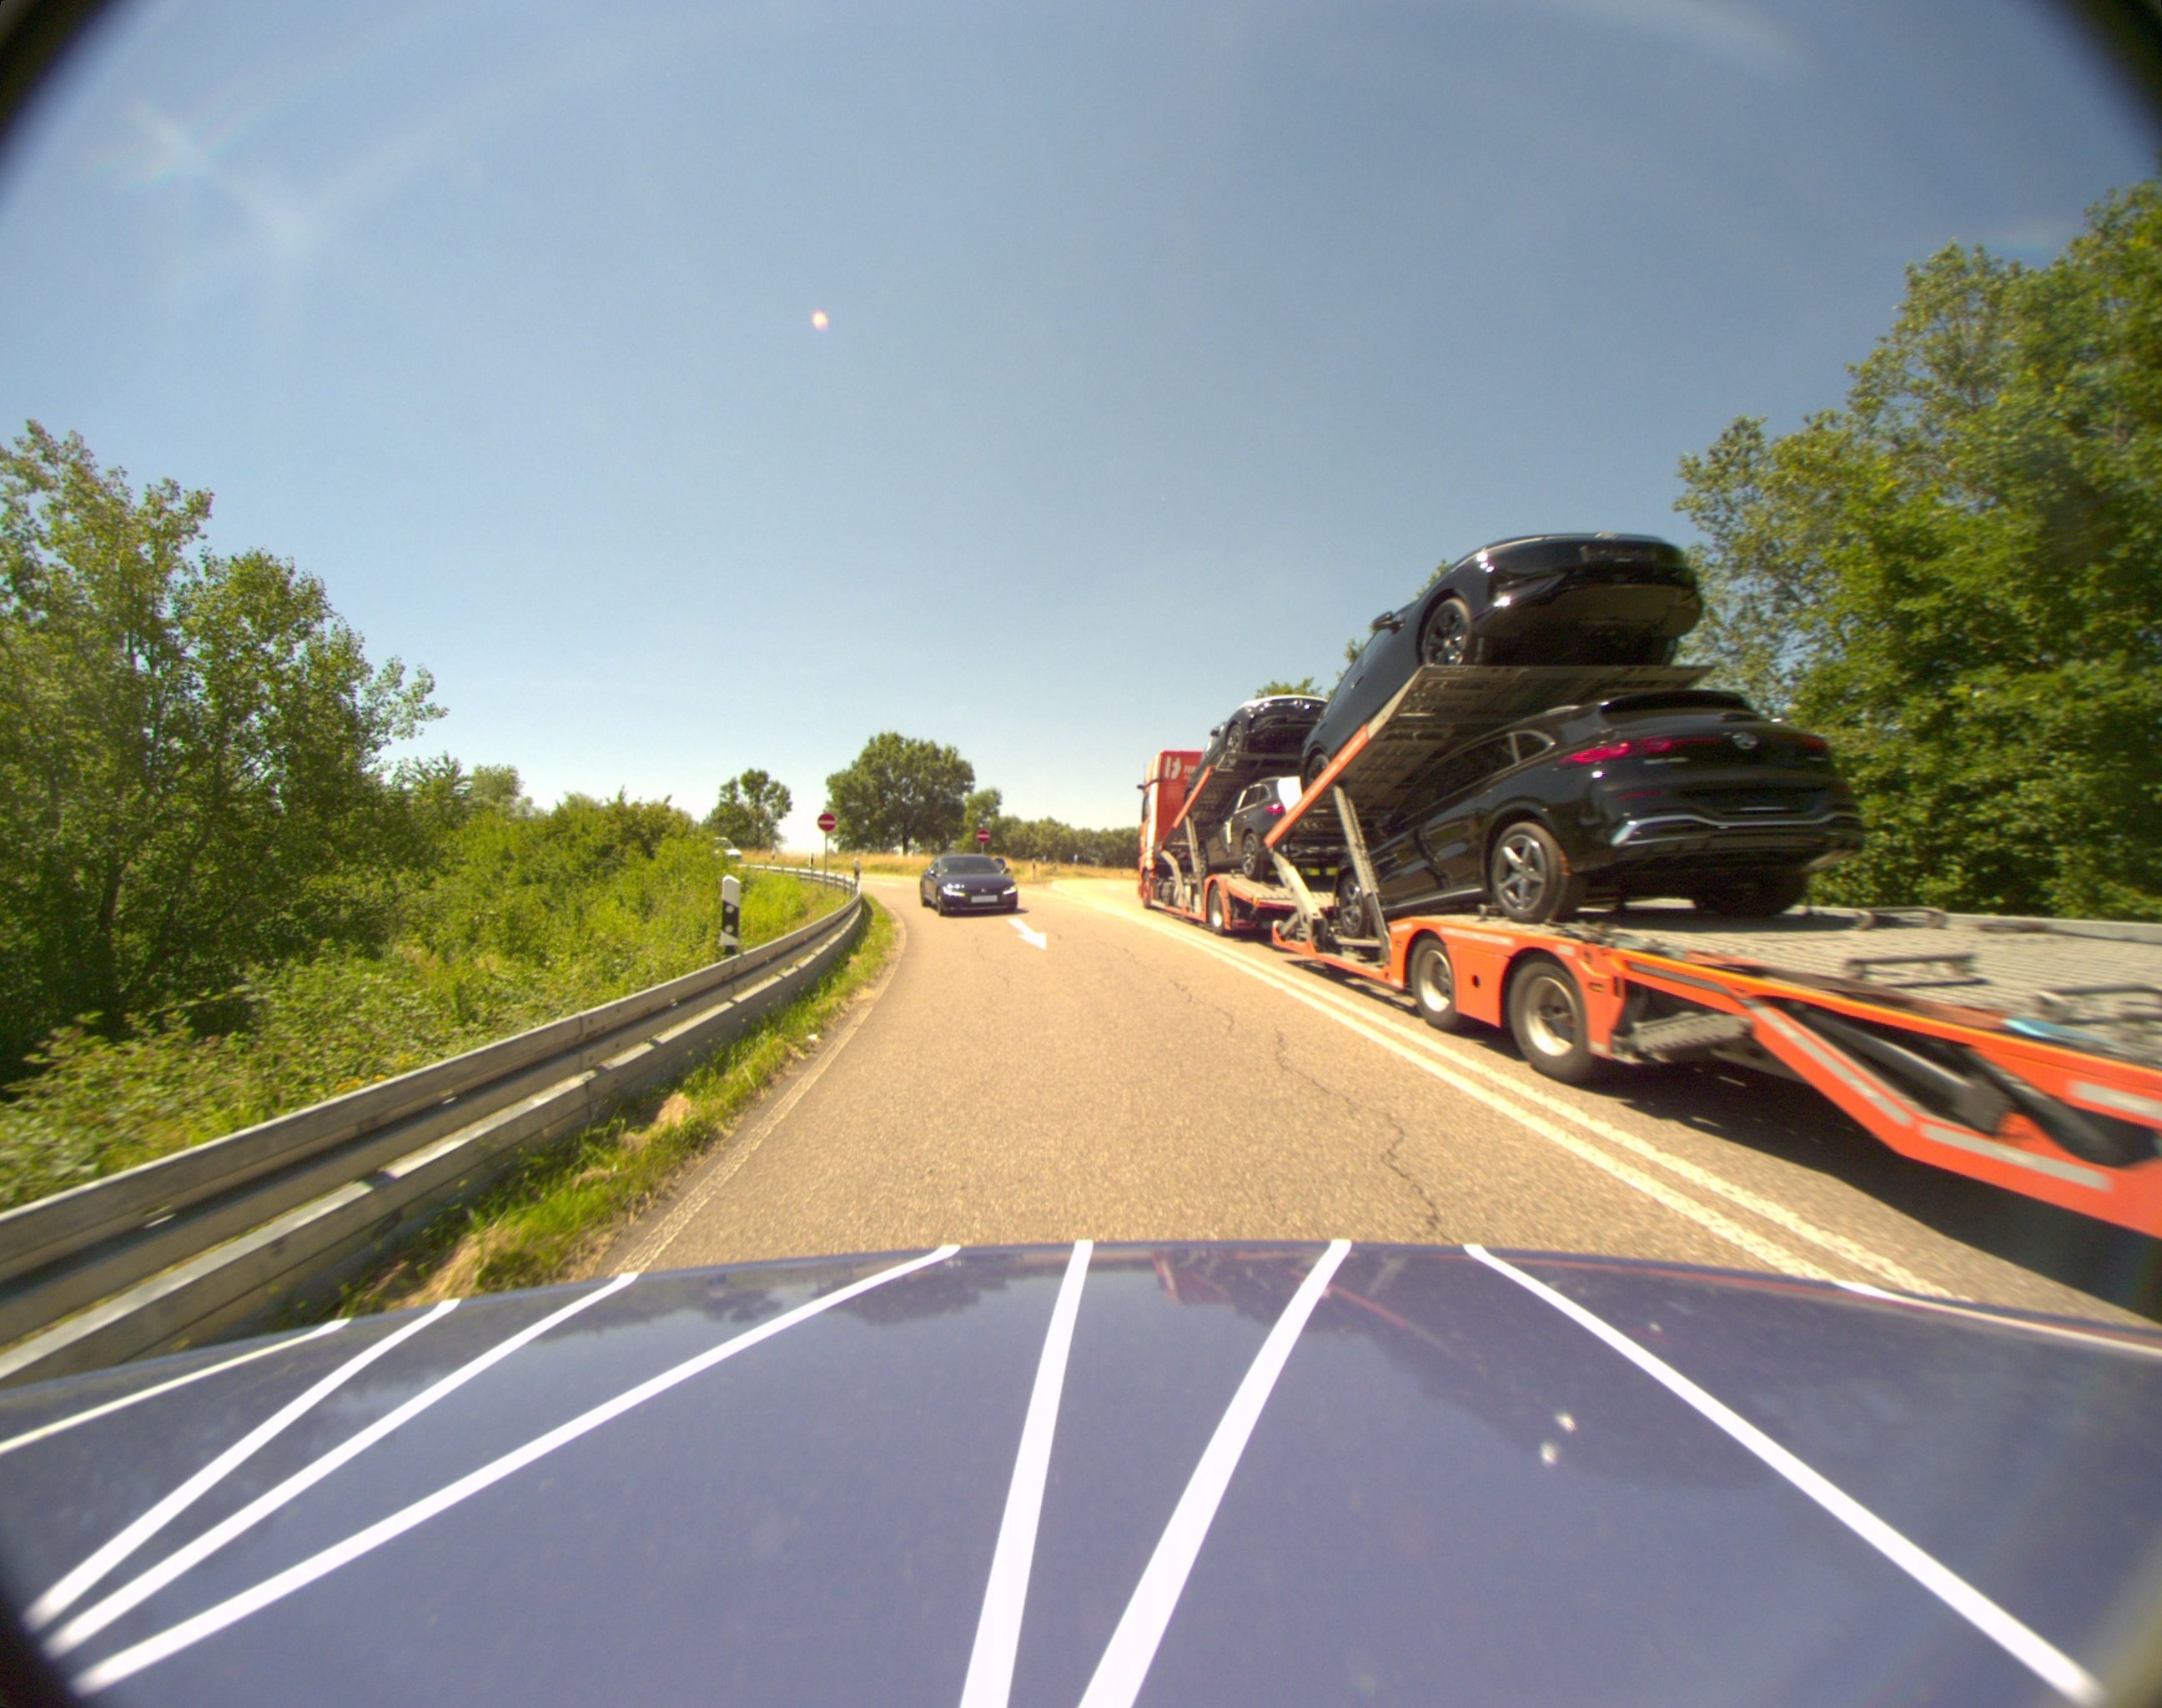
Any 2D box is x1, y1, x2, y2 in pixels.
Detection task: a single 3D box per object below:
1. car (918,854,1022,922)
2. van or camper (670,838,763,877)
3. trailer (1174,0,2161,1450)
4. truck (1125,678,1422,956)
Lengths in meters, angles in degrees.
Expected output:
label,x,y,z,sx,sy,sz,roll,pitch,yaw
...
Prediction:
label,x,y,z,sx,sy,sz,roll,pitch,yaw
car,-2.977,0.766,19.509,1.846,1.422,4.525,-1,1,-19
van or camper,-20.425,0.203,42.525,5.433,2.020,2.013,0,2,32
trailer,3.669,-0.552,8.102,2.800,3.876,13.981,-2,0,-3
truck,3.034,-0.569,15.196,2.798,3.876,8.774,-2,1,-6
